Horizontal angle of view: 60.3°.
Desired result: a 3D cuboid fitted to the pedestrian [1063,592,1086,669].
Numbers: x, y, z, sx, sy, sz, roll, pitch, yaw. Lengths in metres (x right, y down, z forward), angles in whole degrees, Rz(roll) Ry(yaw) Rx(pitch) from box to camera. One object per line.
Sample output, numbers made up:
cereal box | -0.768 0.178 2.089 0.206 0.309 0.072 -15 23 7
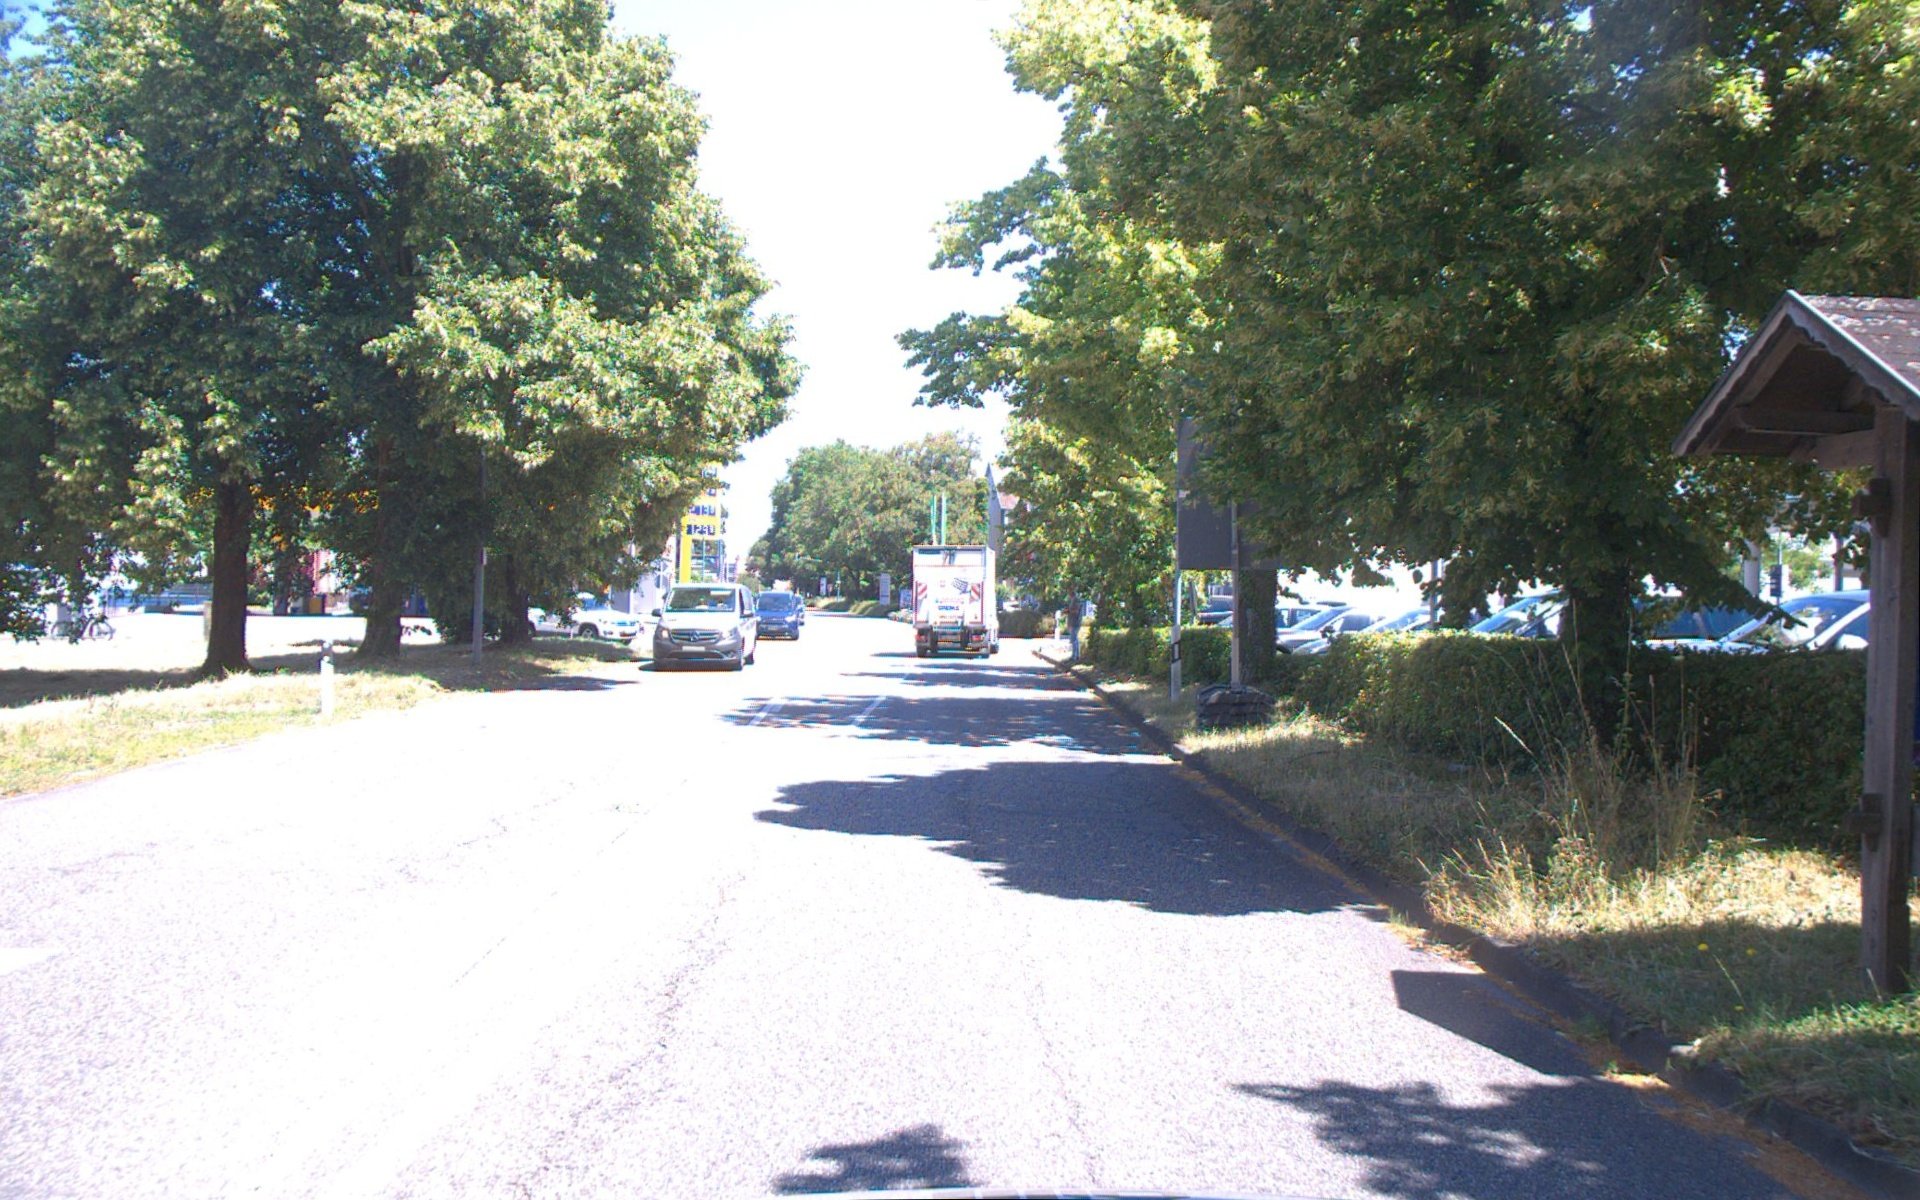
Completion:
pedestrian | 2.707 0.722 39.148 0.536 1.807 0.577 0 0 3

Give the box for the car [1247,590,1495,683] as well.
car | 7.425 0.650 30.128 4.024 1.603 1.866 0 0 -2

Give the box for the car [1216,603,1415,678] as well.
car | 7.567 0.858 35.410 3.865 1.537 1.706 0 0 -2

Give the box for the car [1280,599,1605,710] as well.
car | 7.125 0.784 24.690 4.303 1.565 1.830 0 0 -2

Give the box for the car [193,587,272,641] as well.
car | -22.594 0.424 51.468 1.708 1.612 3.982 1 0 -16

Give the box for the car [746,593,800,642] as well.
car | -7.018 0.645 62.422 1.709 1.776 4.576 0 0 -3

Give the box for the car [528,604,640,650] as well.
car | -11.805 0.821 51.950 3.356 1.386 1.333 0 0 27

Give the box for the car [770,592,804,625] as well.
car | -9.885 0.485 94.533 1.694 1.791 3.960 0 0 -3

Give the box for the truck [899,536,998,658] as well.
truck | -0.244 -0.114 46.284 2.481 3.190 5.363 0 1 2

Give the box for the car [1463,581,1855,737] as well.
car | 8.291 0.681 19.856 3.936 1.757 1.852 0 0 -2

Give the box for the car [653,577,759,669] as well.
car | -5.578 0.491 36.902 1.954 1.889 5.310 0 0 -5

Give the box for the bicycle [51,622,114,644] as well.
bicycle | -26.737 0.996 50.425 1.640 0.657 0.424 1 0 -7

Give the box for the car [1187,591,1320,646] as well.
car | 8.437 0.537 47.729 3.494 1.535 1.761 0 0 -2

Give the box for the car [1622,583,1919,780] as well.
car | 8.191 0.713 14.720 3.855 1.592 1.797 2 0 -2
